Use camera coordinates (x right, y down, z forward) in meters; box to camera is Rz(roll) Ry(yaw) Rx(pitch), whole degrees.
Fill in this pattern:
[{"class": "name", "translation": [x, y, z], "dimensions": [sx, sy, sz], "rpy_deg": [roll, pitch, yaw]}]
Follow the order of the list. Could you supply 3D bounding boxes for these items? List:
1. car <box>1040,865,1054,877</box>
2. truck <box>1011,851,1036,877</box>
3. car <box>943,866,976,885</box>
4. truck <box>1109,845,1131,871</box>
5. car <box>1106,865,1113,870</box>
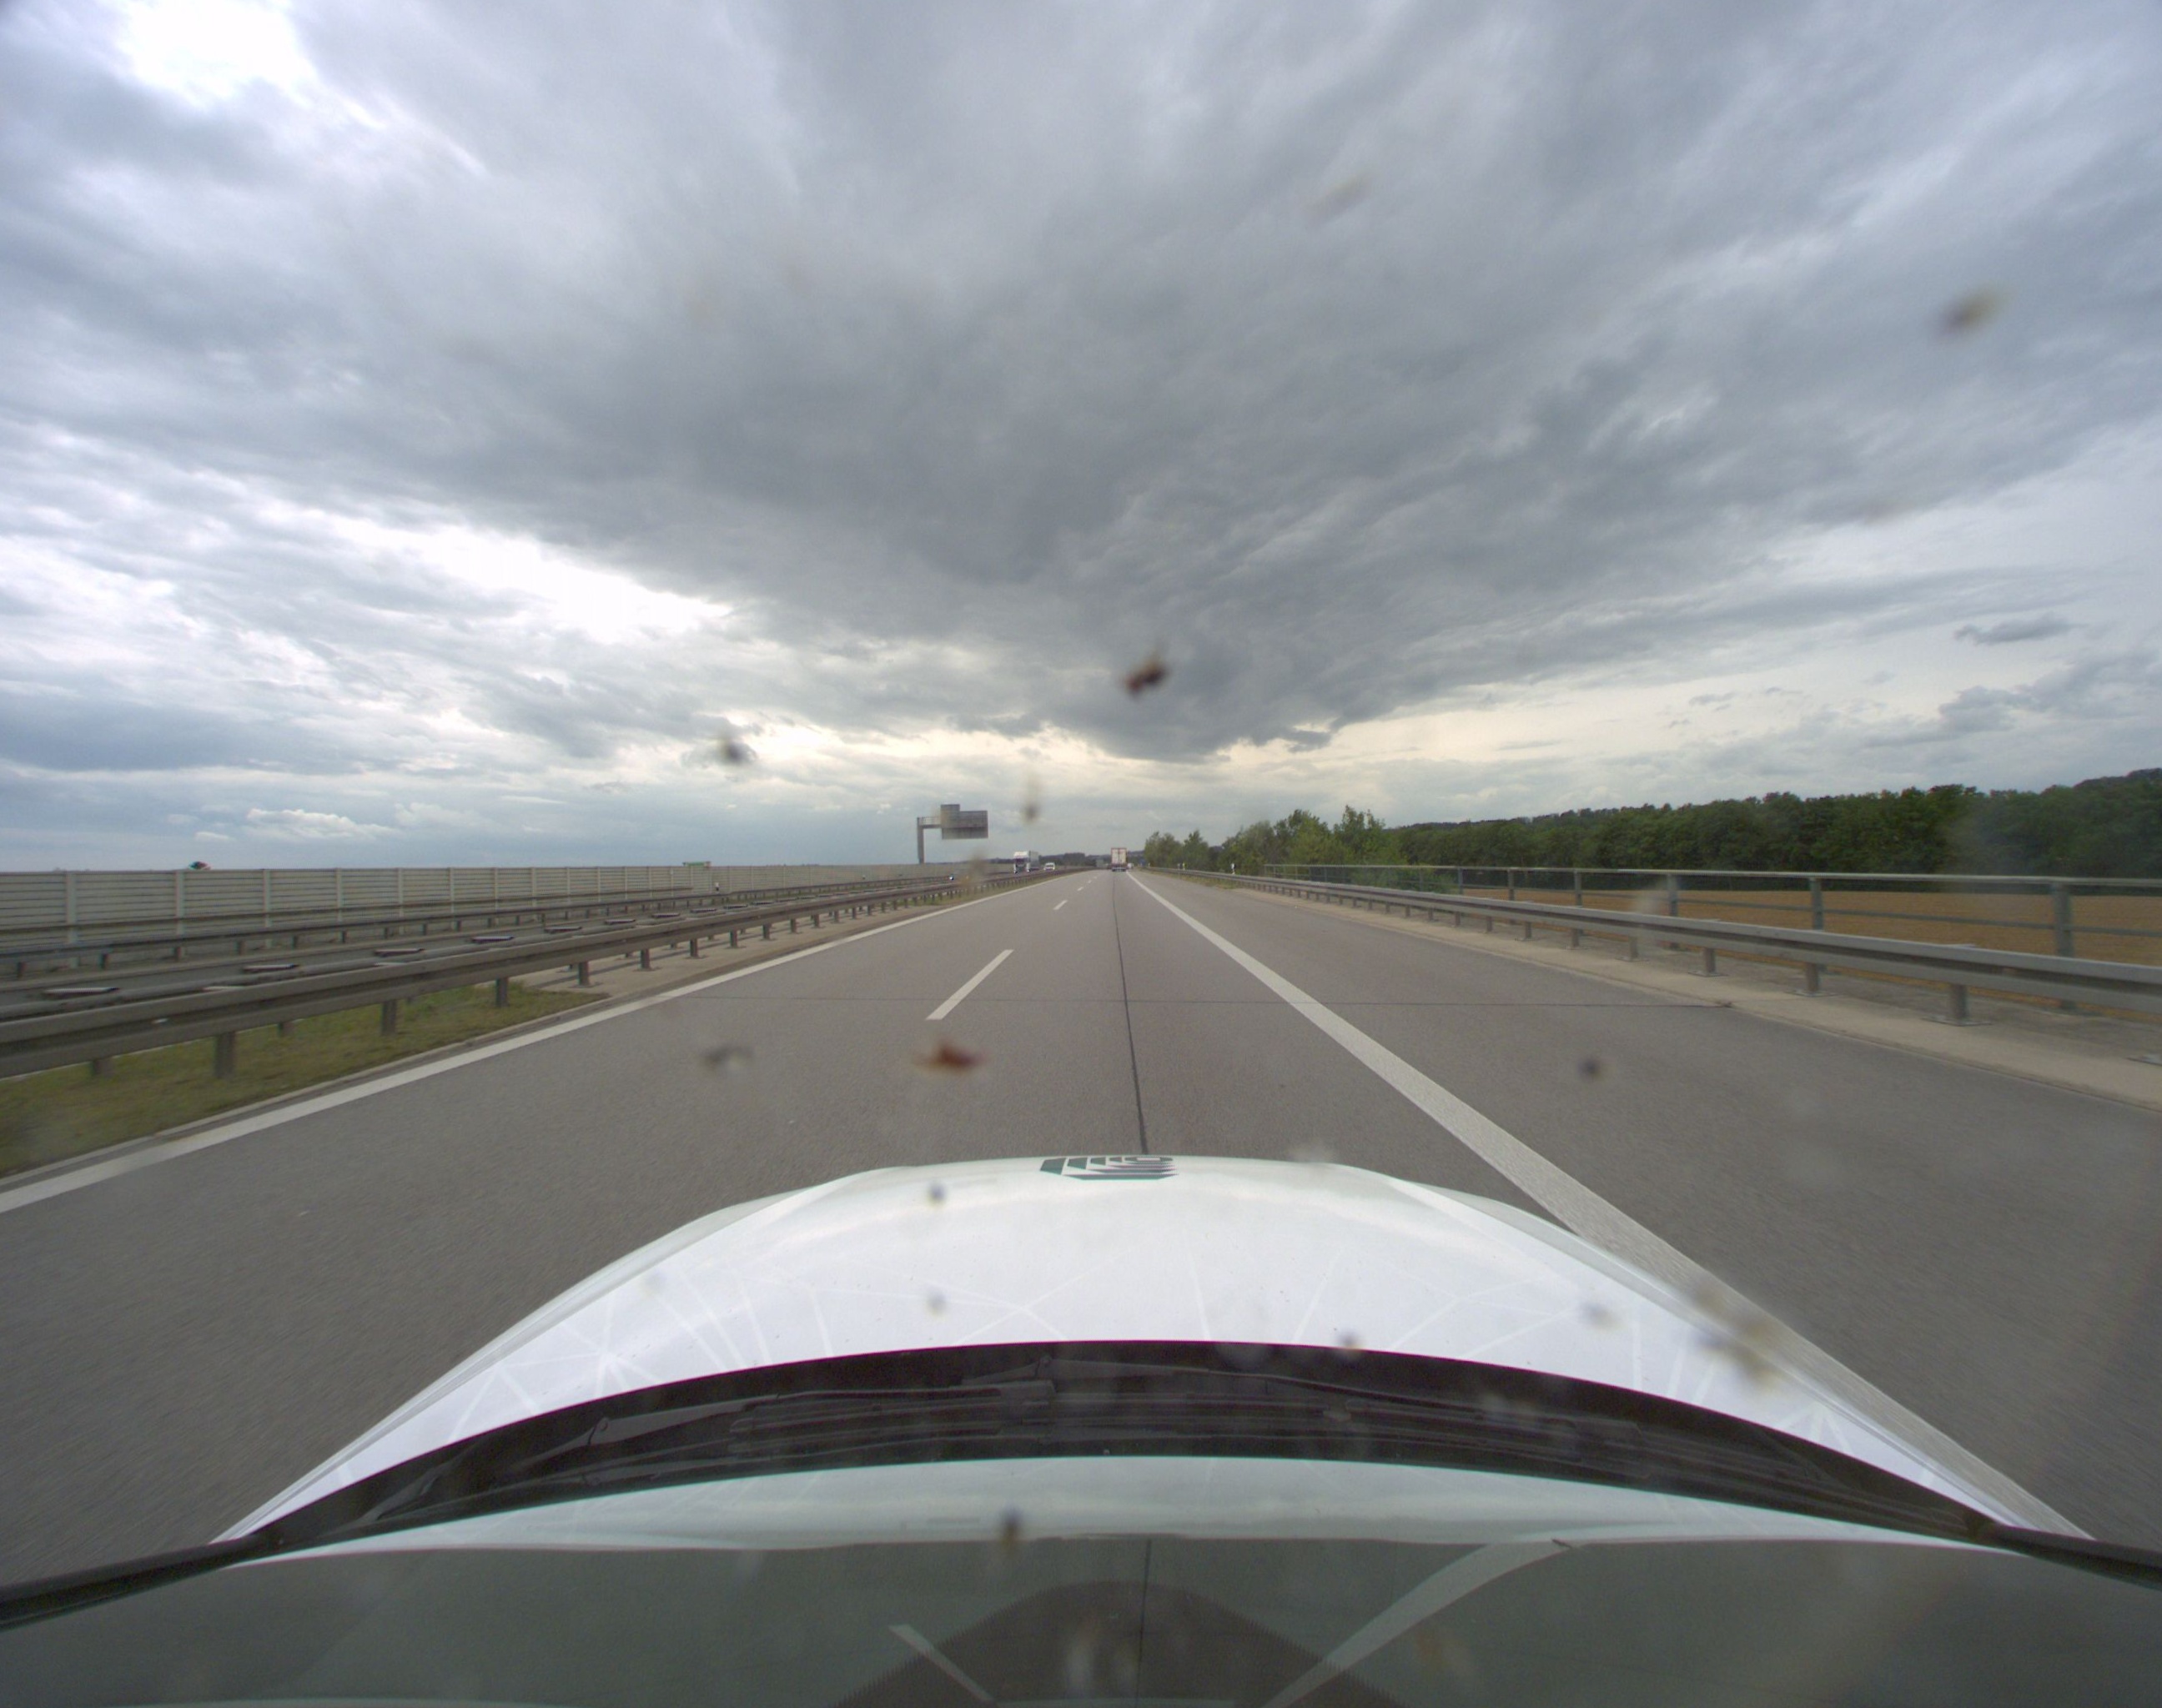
[{"class": "car", "translation": [-5.540, 2.801, 133.980], "dimensions": [1.807, 1.847, 4.183], "rpy_deg": [3, -1, 2]}, {"class": "truck", "translation": [-9.438, 1.618, 134.237], "dimensions": [3.097, 4.014, 7.327], "rpy_deg": [-3, -1, 2]}, {"class": "car", "translation": [-10.309, 1.808, 69.385], "dimensions": [1.789, 1.373, 4.685], "rpy_deg": [-7, -1, 2]}, {"class": "truck", "translation": [7.018, 0.860, 148.026], "dimensions": [3.658, 4.413, 16.349], "rpy_deg": [-2, -1, 3]}, {"class": "car", "translation": [8.938, 4.266, 254.204], "dimensions": [1.987, 1.420, 3.999], "rpy_deg": [0, 0, 0]}]
